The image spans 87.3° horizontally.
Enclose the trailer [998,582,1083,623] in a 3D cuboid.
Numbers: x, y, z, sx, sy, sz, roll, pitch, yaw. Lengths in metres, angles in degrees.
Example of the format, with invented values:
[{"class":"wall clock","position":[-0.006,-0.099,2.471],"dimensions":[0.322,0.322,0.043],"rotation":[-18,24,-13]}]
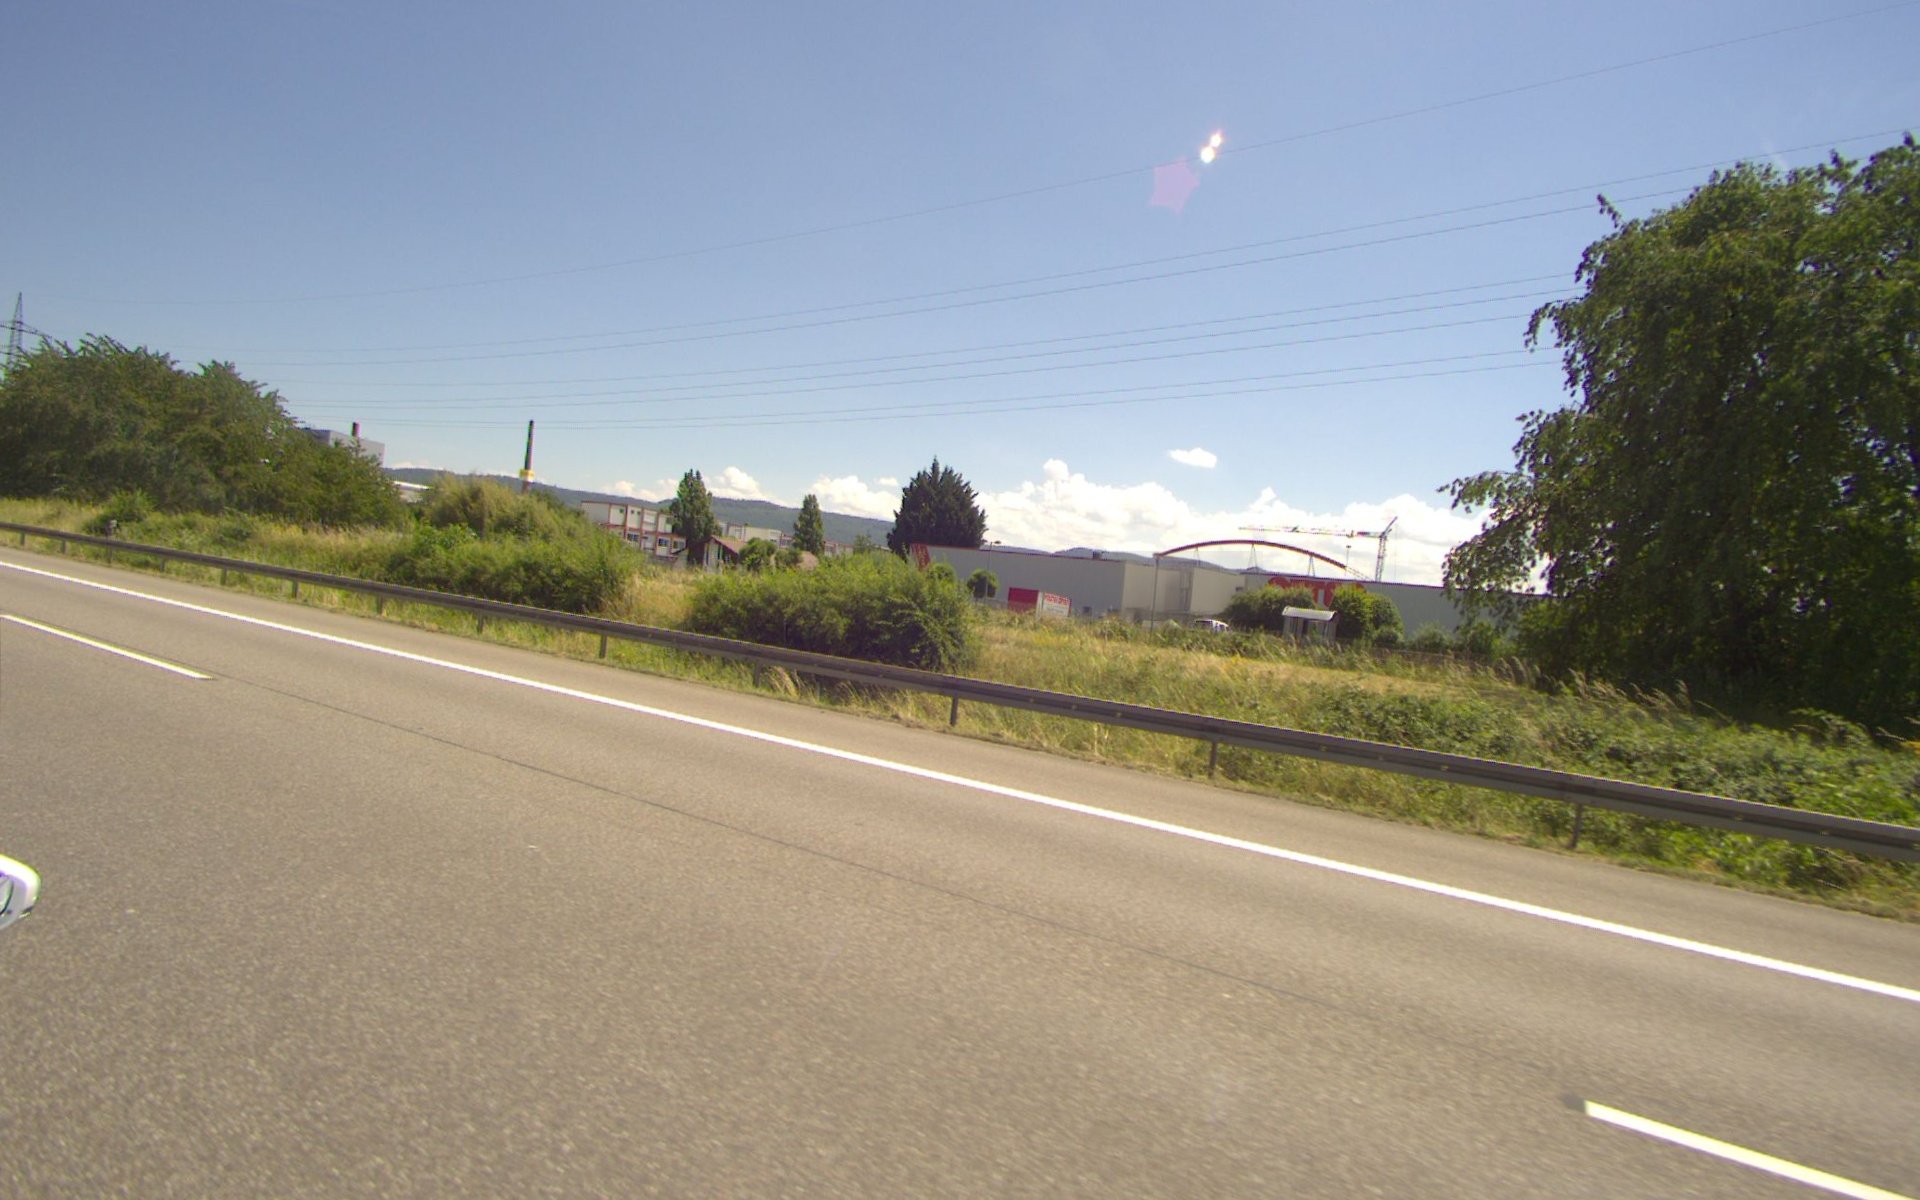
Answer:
[{"class":"trailer","position":[6.257,0.244,76.675],"dimensions":[2.931,2.412,7.910],"rotation":[7,1,32]}]

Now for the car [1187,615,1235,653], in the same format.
[{"class":"car","position":[16.363,2.232,65.420],"dimensions":[1.965,2.036,3.999],"rotation":[7,-2,28]}]
